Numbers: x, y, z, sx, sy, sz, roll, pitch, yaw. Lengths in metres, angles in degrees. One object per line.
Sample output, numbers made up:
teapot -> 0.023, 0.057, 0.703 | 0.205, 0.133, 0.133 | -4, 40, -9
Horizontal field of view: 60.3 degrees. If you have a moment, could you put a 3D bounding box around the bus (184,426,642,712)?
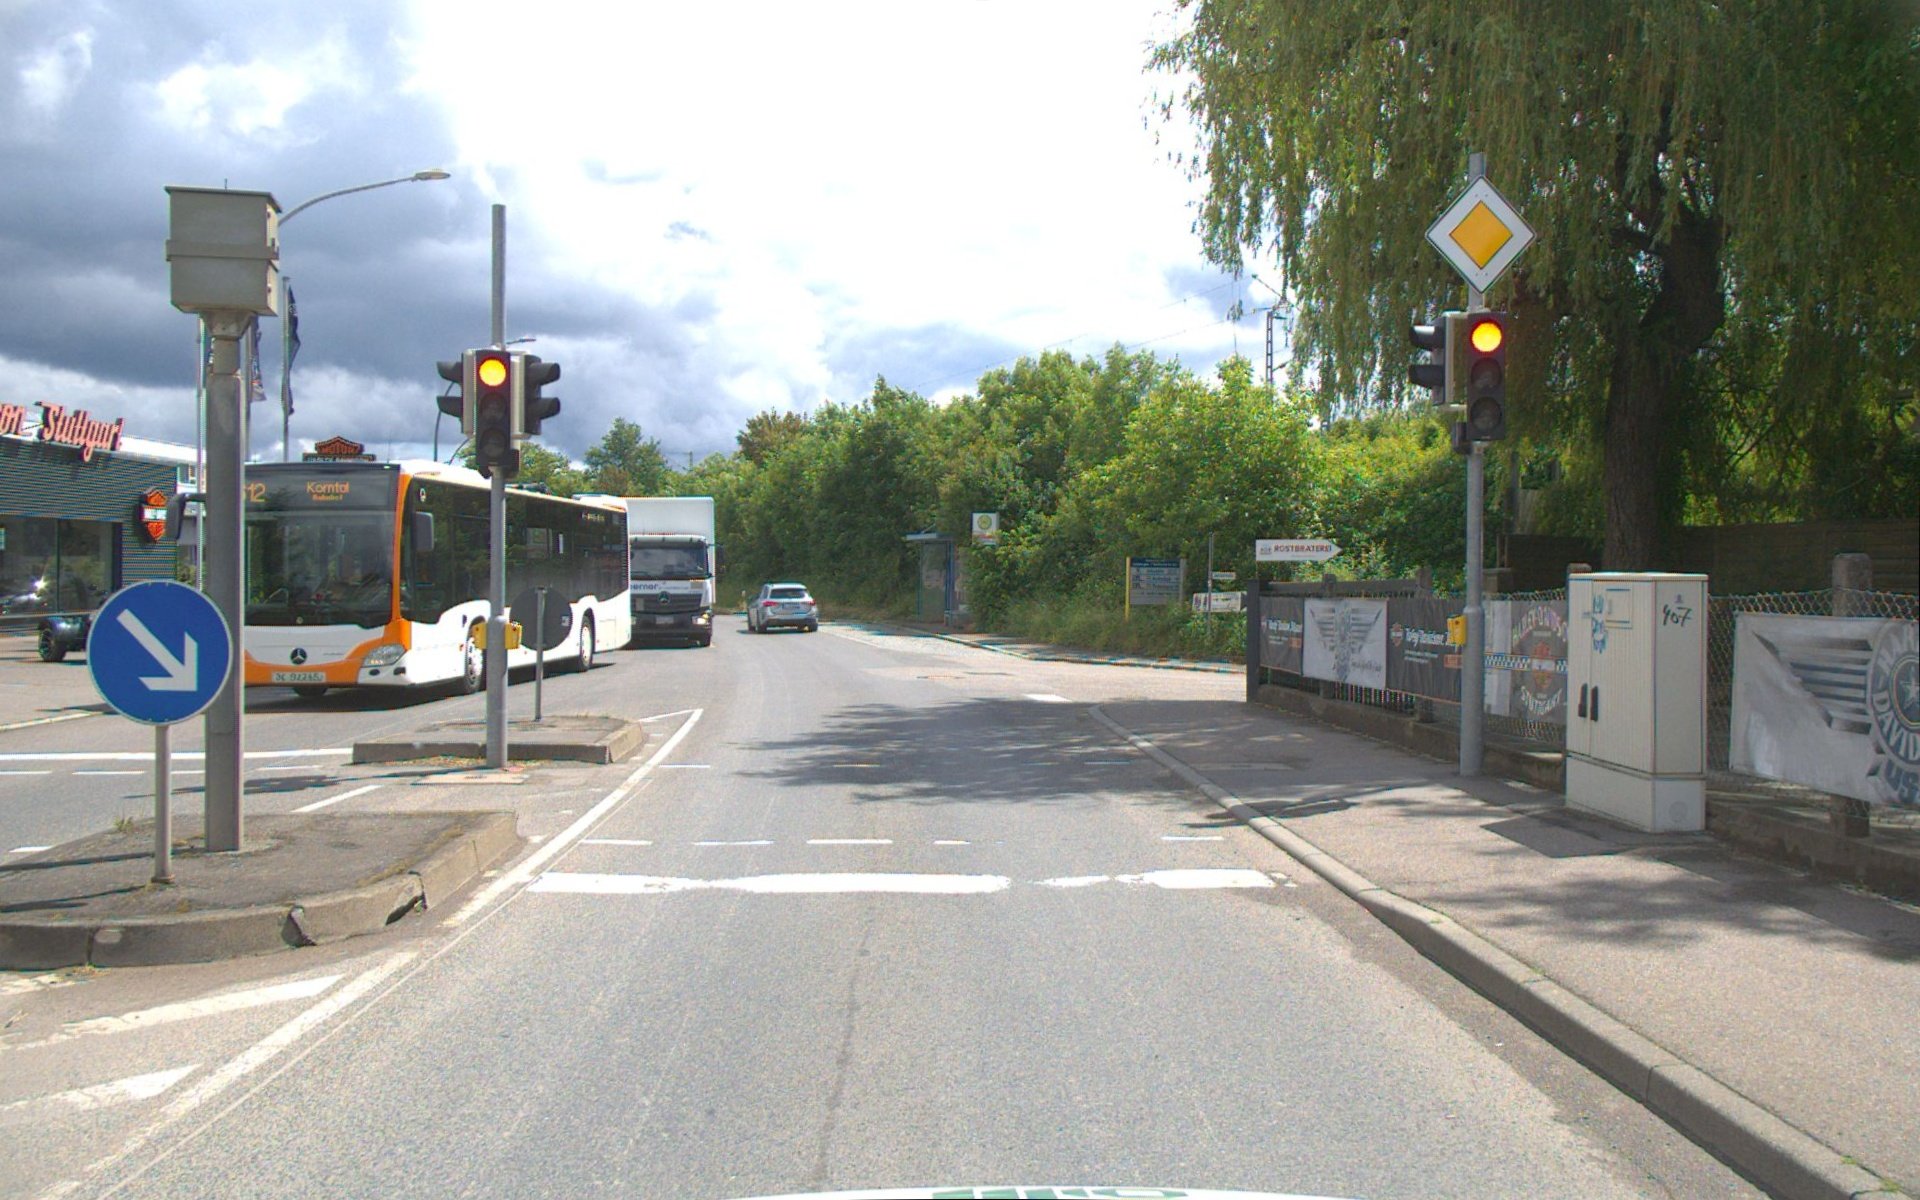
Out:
bus -> -7.595, -0.372, 25.489 | 2.720, 3.323, 12.125 | -1, 0, 1

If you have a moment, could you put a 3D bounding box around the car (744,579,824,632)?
car -> -5.404, 0.139, 50.380 | 1.853, 1.534, 3.984 | 0, 1, -15

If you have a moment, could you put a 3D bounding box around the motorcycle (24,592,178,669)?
motorcycle -> -14.741, 0.515, 28.386 | 2.448, 1.239, 0.926 | 1, 0, 20

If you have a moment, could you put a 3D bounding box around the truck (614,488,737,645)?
truck -> -7.415, -0.825, 42.955 | 2.788, 3.602, 9.701 | 0, 1, -10

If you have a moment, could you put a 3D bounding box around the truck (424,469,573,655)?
truck -> -11.724, -0.883, 42.740 | 2.383, 4.203, 9.133 | 2, 0, -8

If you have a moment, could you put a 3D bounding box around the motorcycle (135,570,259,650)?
motorcycle -> -16.944, 0.225, 36.798 | 2.260, 1.713, 1.039 | 1, 0, -10
